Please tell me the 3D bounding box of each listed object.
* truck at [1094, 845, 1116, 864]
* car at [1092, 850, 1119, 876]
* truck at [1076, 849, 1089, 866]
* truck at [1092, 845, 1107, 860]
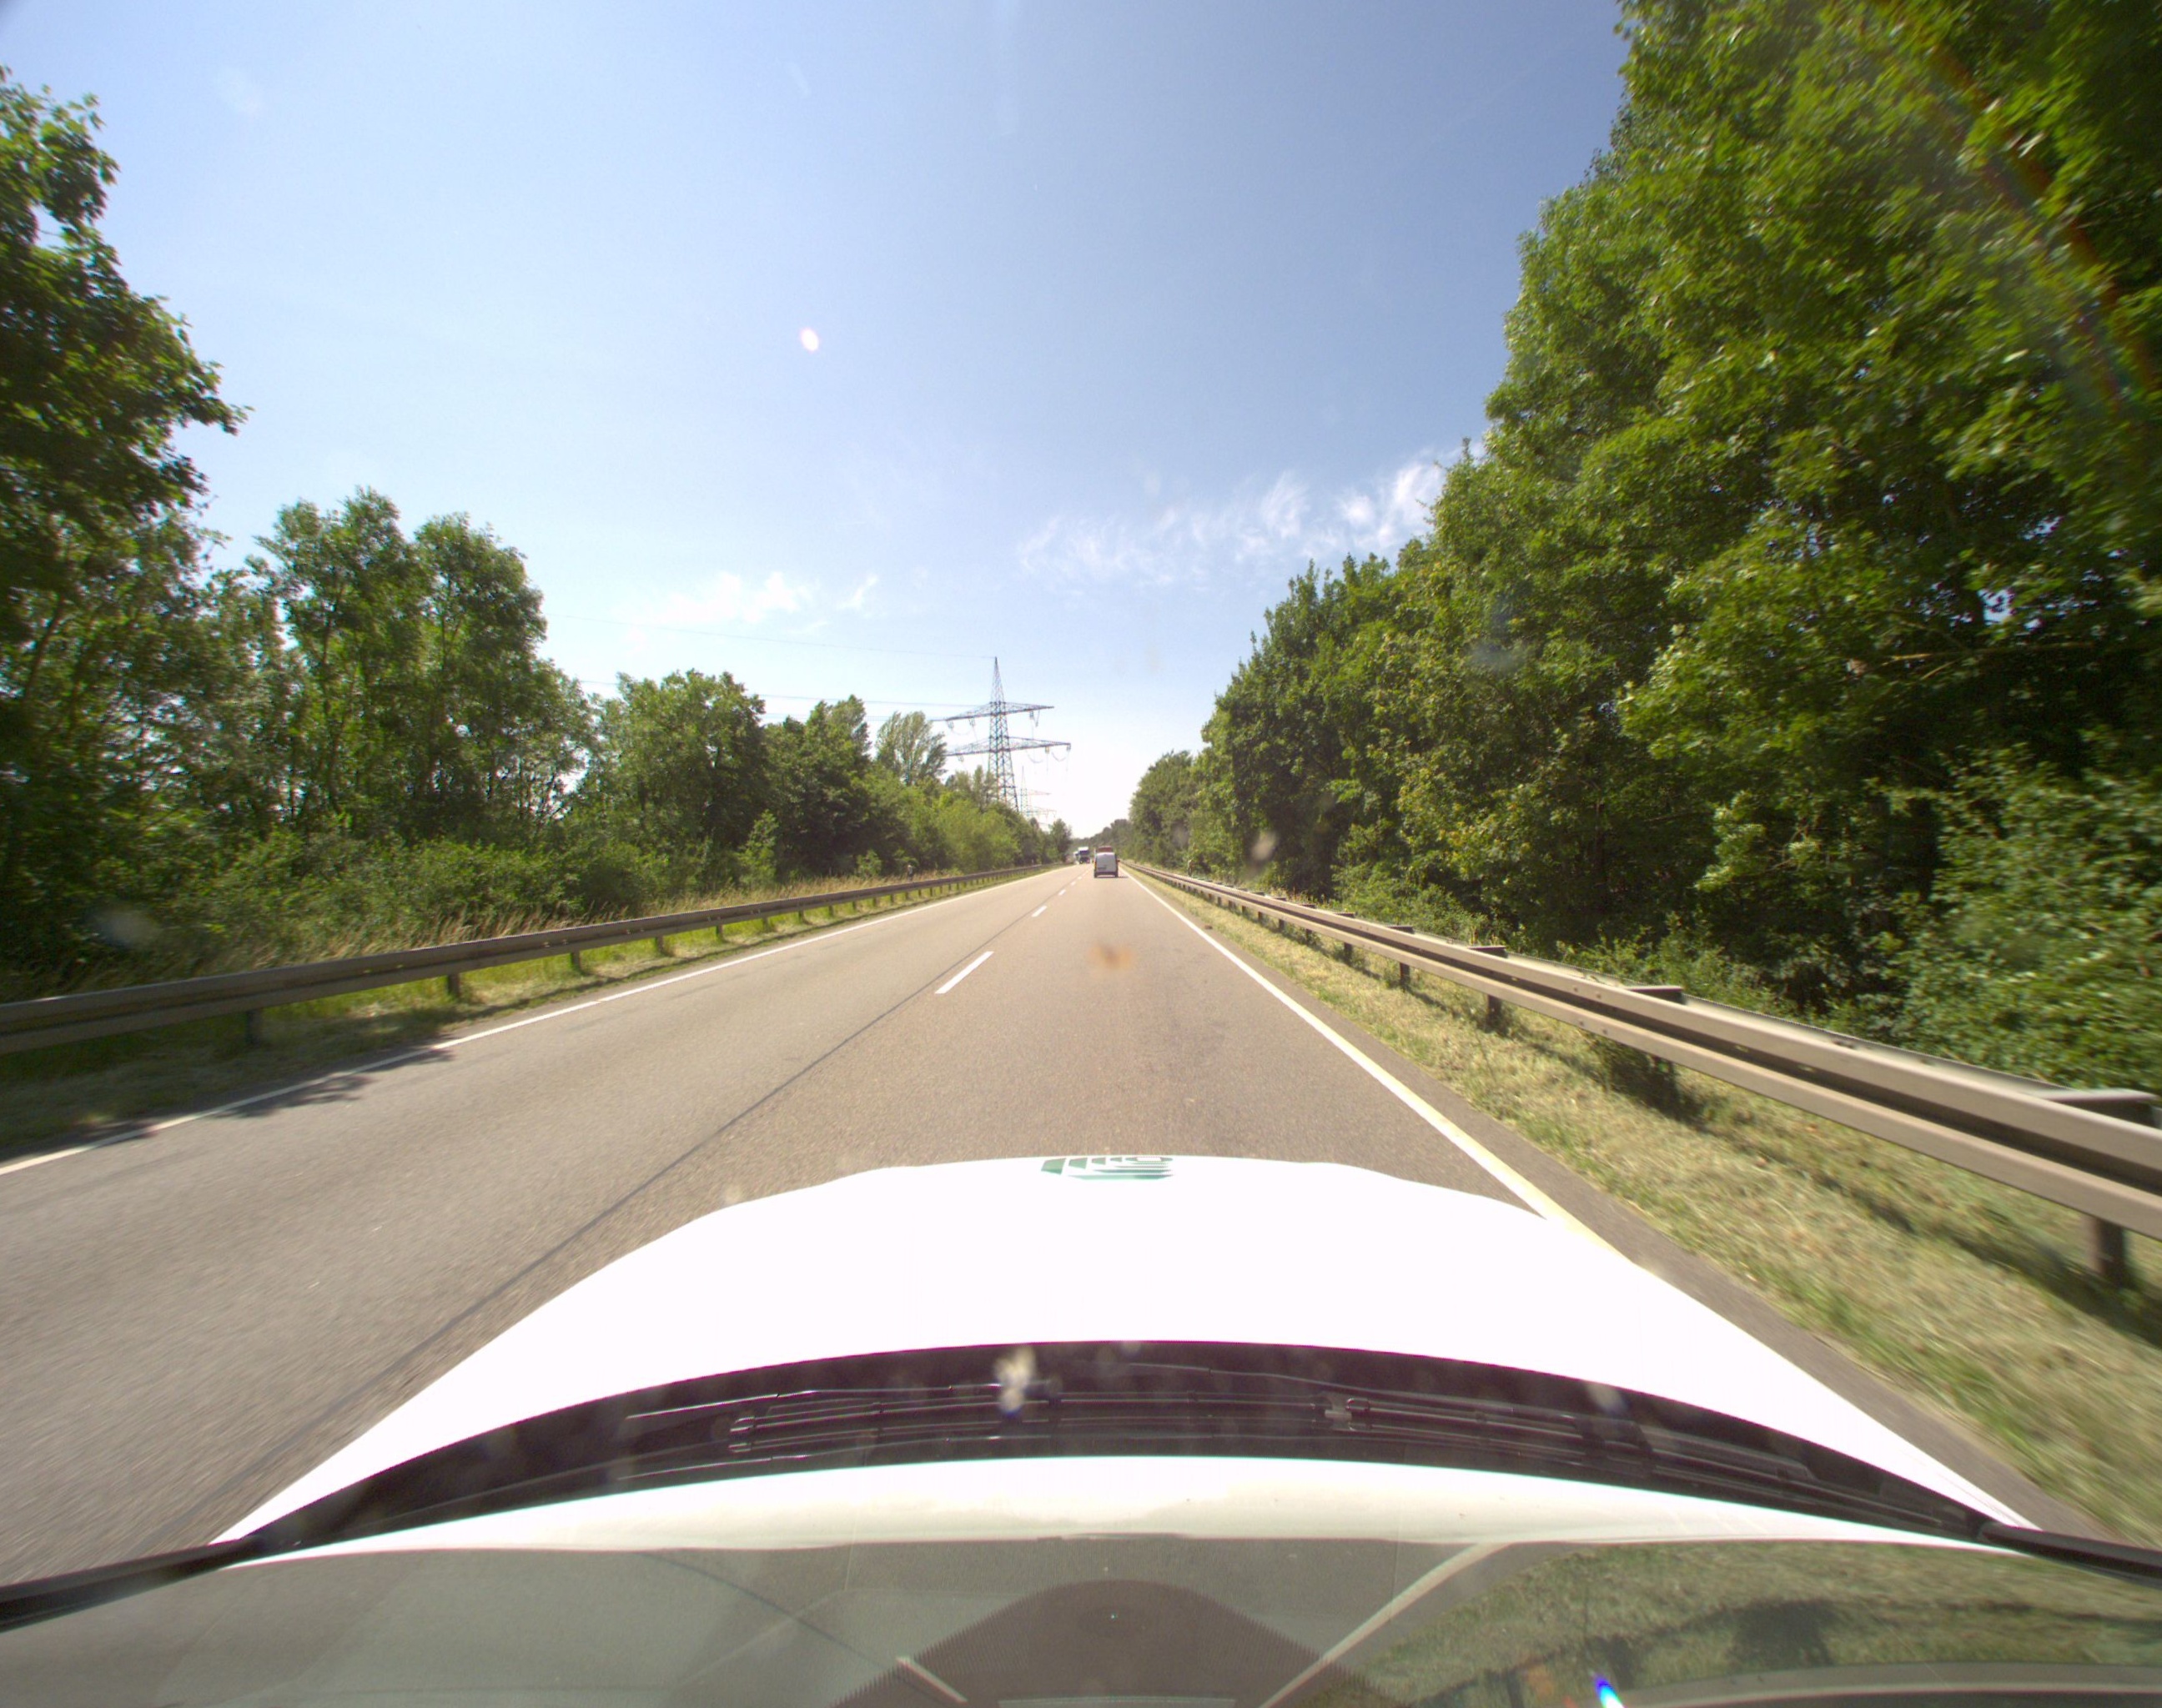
[{"bbox_3d":[4.286,0.027,146.626,3.287,3.171,14.400,-1,1,-1],"label":"truck"},{"bbox_3d":[1.787,0.625,59.617,1.868,1.741,4.001,-1,1,1],"label":"car"},{"bbox_3d":[0.401,0.836,197.857,2.753,3.999,5.908,-1,0,1],"label":"truck"},{"bbox_3d":[4.890,-0.600,221.743,3.392,3.854,16.812,-1,1,-1],"label":"truck"}]
